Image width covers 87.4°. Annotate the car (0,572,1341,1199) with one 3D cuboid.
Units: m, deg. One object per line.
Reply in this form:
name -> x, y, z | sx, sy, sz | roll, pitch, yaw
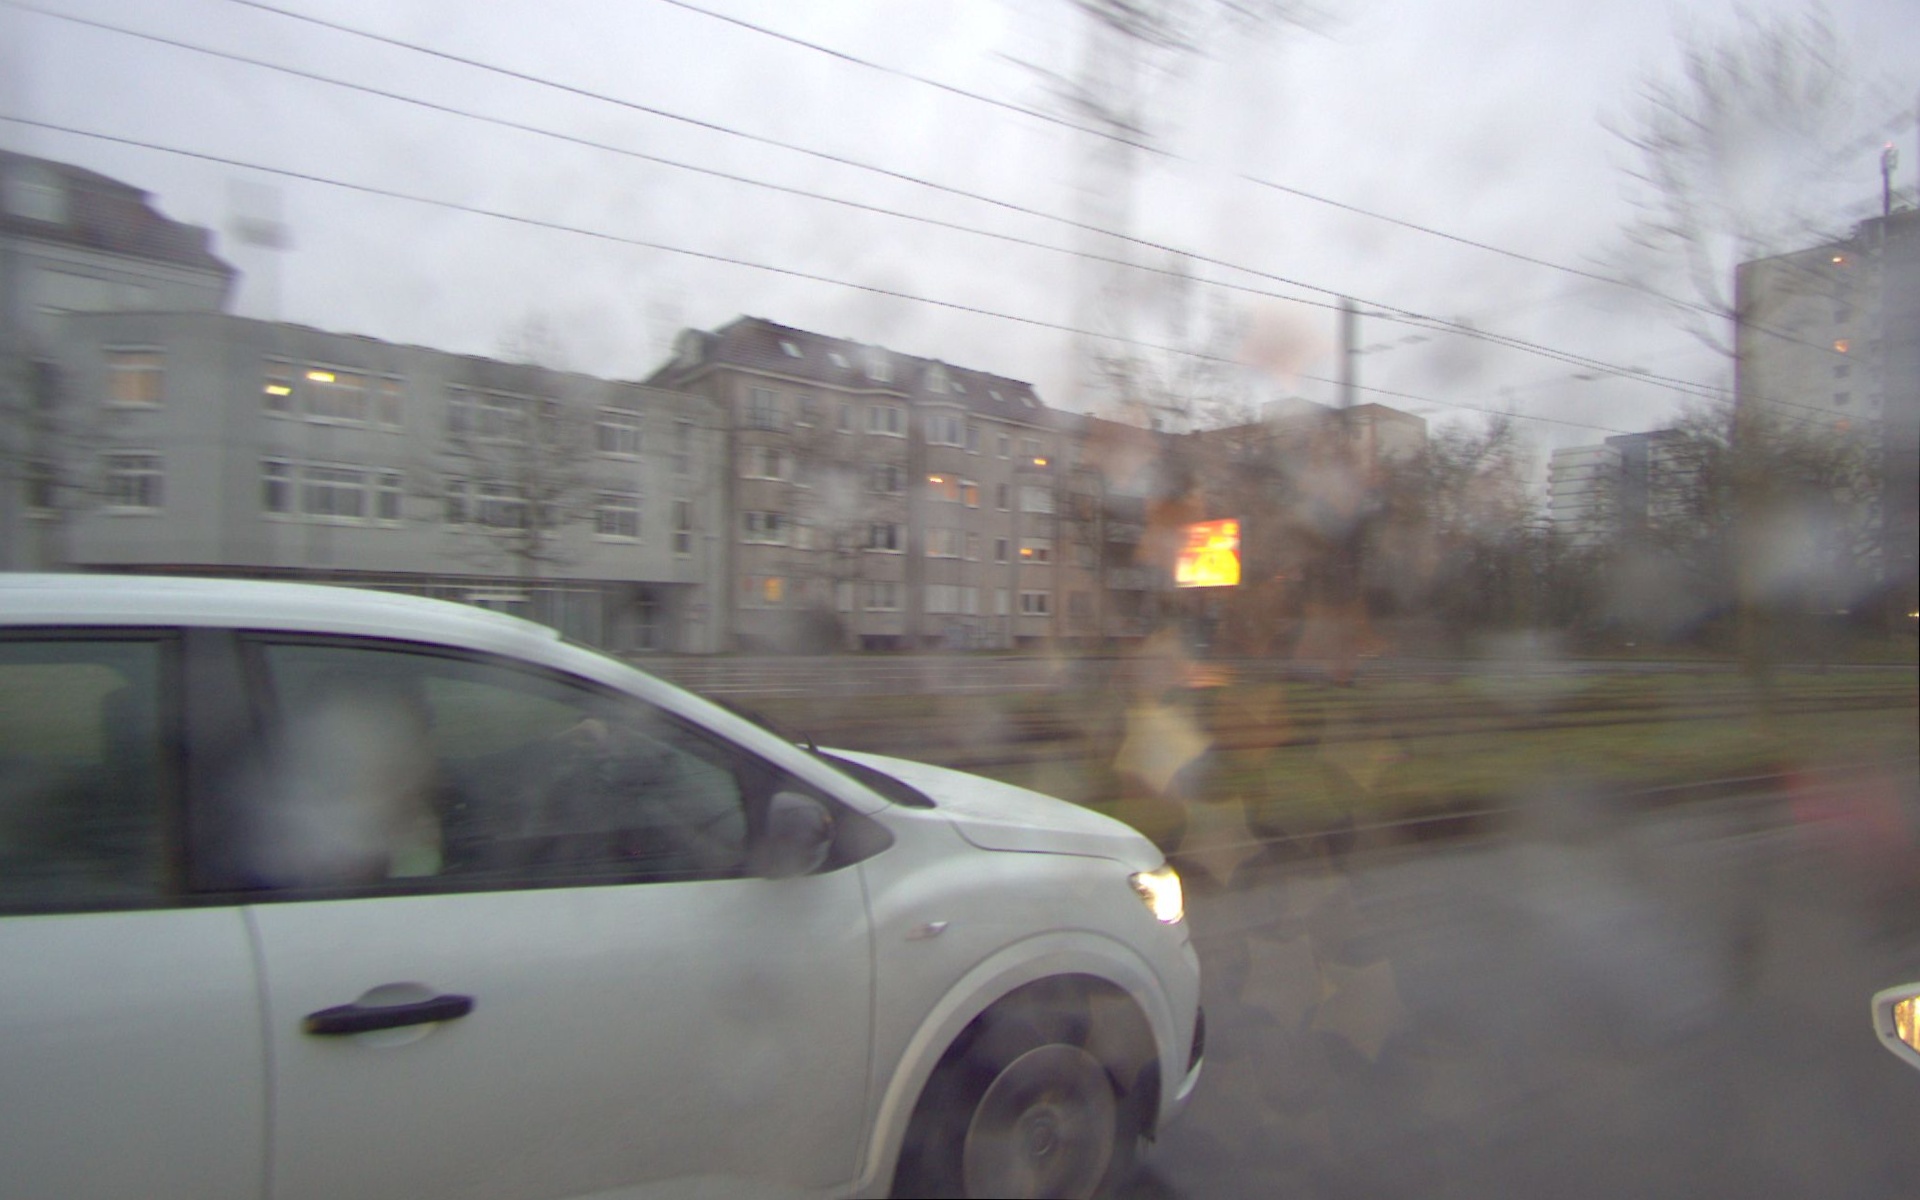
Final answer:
car -> -1.158, 0.730, 2.358 | 3.953, 1.485, 1.700 | 3, -1, -30
